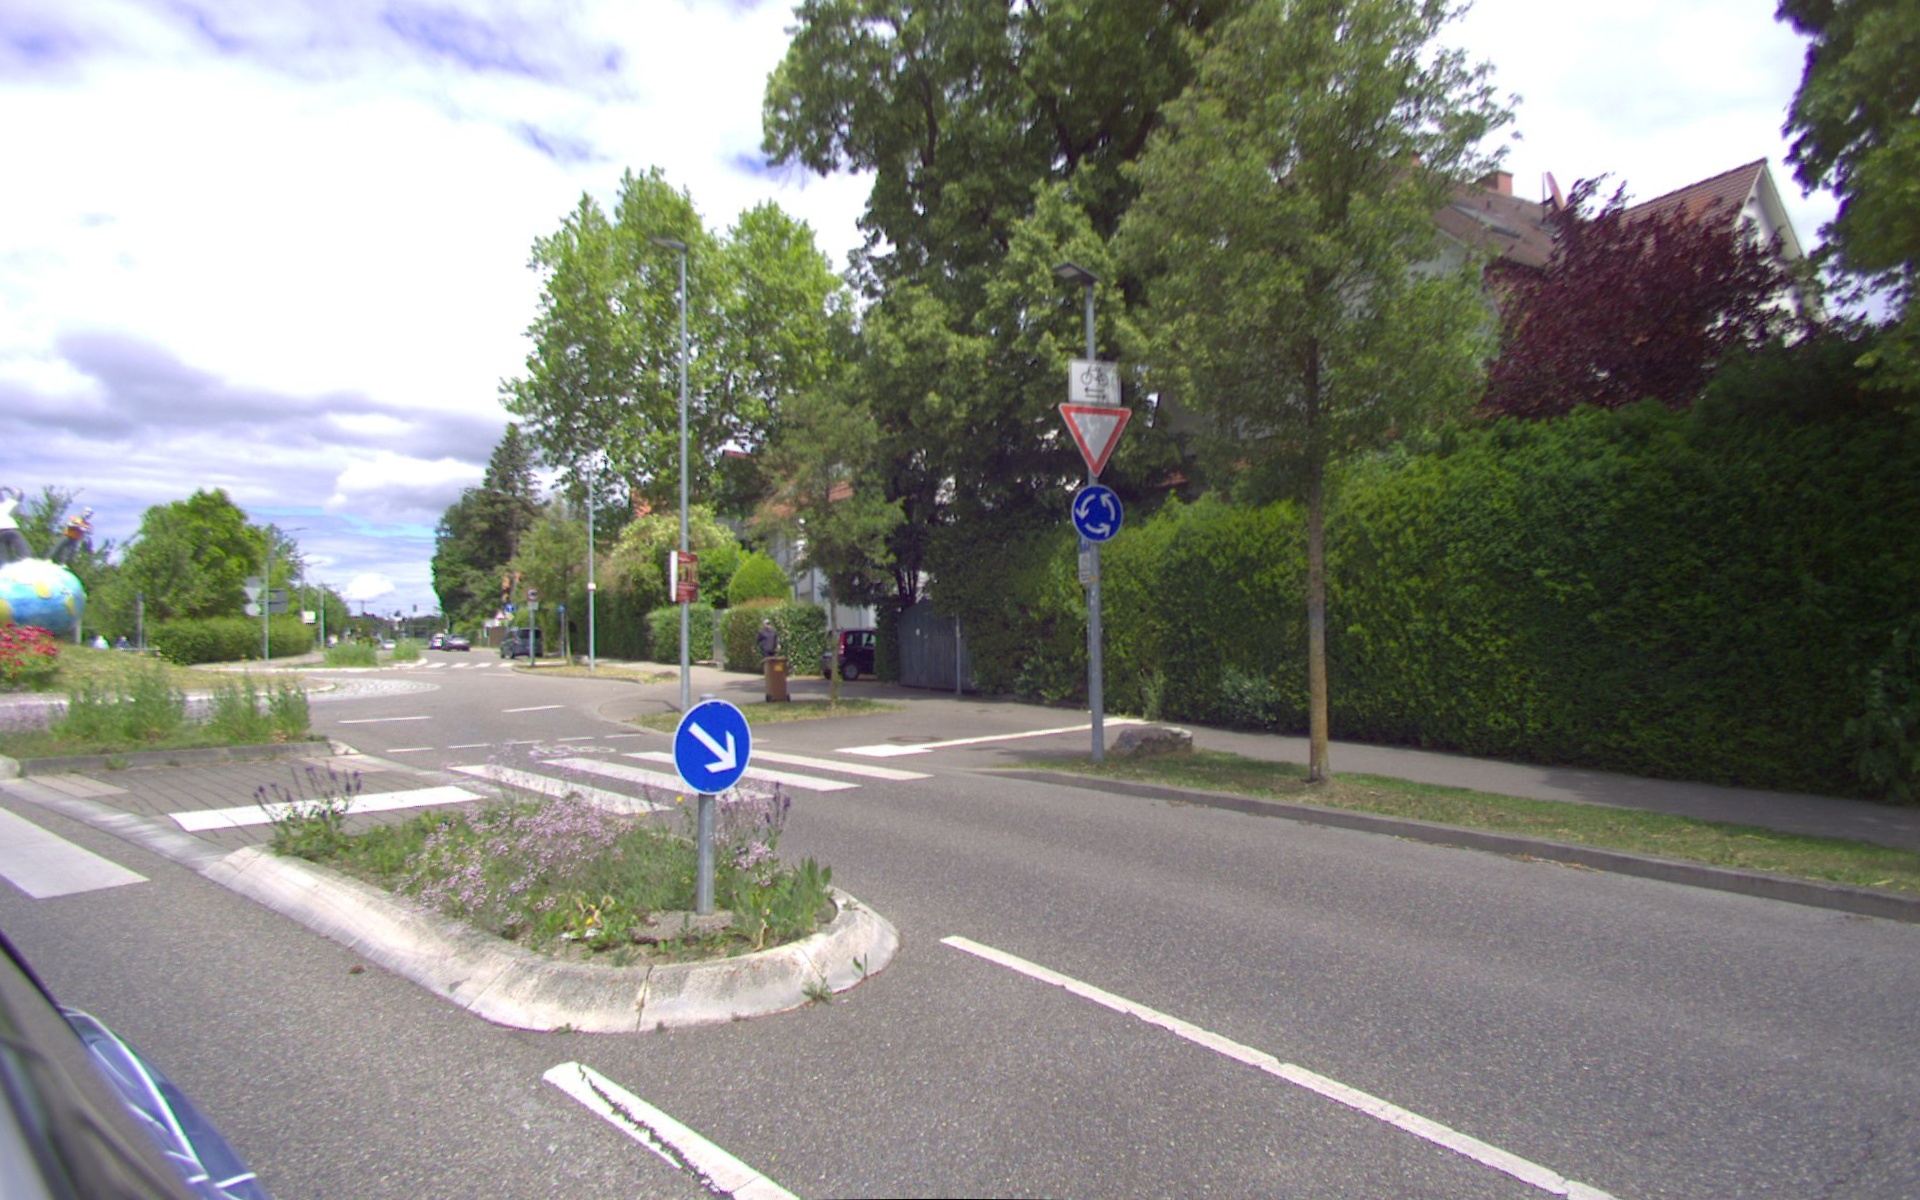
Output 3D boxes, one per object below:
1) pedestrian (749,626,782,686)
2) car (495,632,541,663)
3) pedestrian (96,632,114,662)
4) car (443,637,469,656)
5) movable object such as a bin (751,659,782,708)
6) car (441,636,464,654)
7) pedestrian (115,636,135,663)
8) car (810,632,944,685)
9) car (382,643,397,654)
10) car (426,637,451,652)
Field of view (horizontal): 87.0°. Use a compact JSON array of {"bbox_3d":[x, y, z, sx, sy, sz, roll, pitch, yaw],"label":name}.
[{"bbox_3d":[-5.643,1.607,29.384,0.733,1.704,0.697,0,-1,-29],"label":"pedestrian"},{"bbox_3d":[-24.673,2.624,56.449,1.653,1.674,4.010,1,-2,-34],"label":"car"},{"bbox_3d":[-48.088,2.639,56.920,0.566,1.710,0.600,-2,-3,39],"label":"pedestrian"},{"bbox_3d":[-44.855,4.085,90.037,1.832,1.589,4.012,0,-1,-29],"label":"car"},{"bbox_3d":[-3.867,1.662,20.211,0.411,0.942,0.436,-1,-3,32],"label":"movable object such as a bin"},{"bbox_3d":[-47.676,4.231,94.994,1.757,1.589,4.012,0,-1,-29],"label":"car"},{"bbox_3d":[-47.513,2.813,57.604,0.601,1.569,0.754,-2,-3,39],"label":"pedestrian"},{"bbox_3d":[-2.444,1.727,29.804,3.517,1.408,1.670,4,-3,-29],"label":"car"},{"bbox_3d":[-89.719,7.571,159.239,1.966,1.719,4.012,2,-3,-31],"label":"car"},{"bbox_3d":[-60.362,5.181,117.101,1.967,1.719,4.010,2,-3,-35],"label":"car"}]
